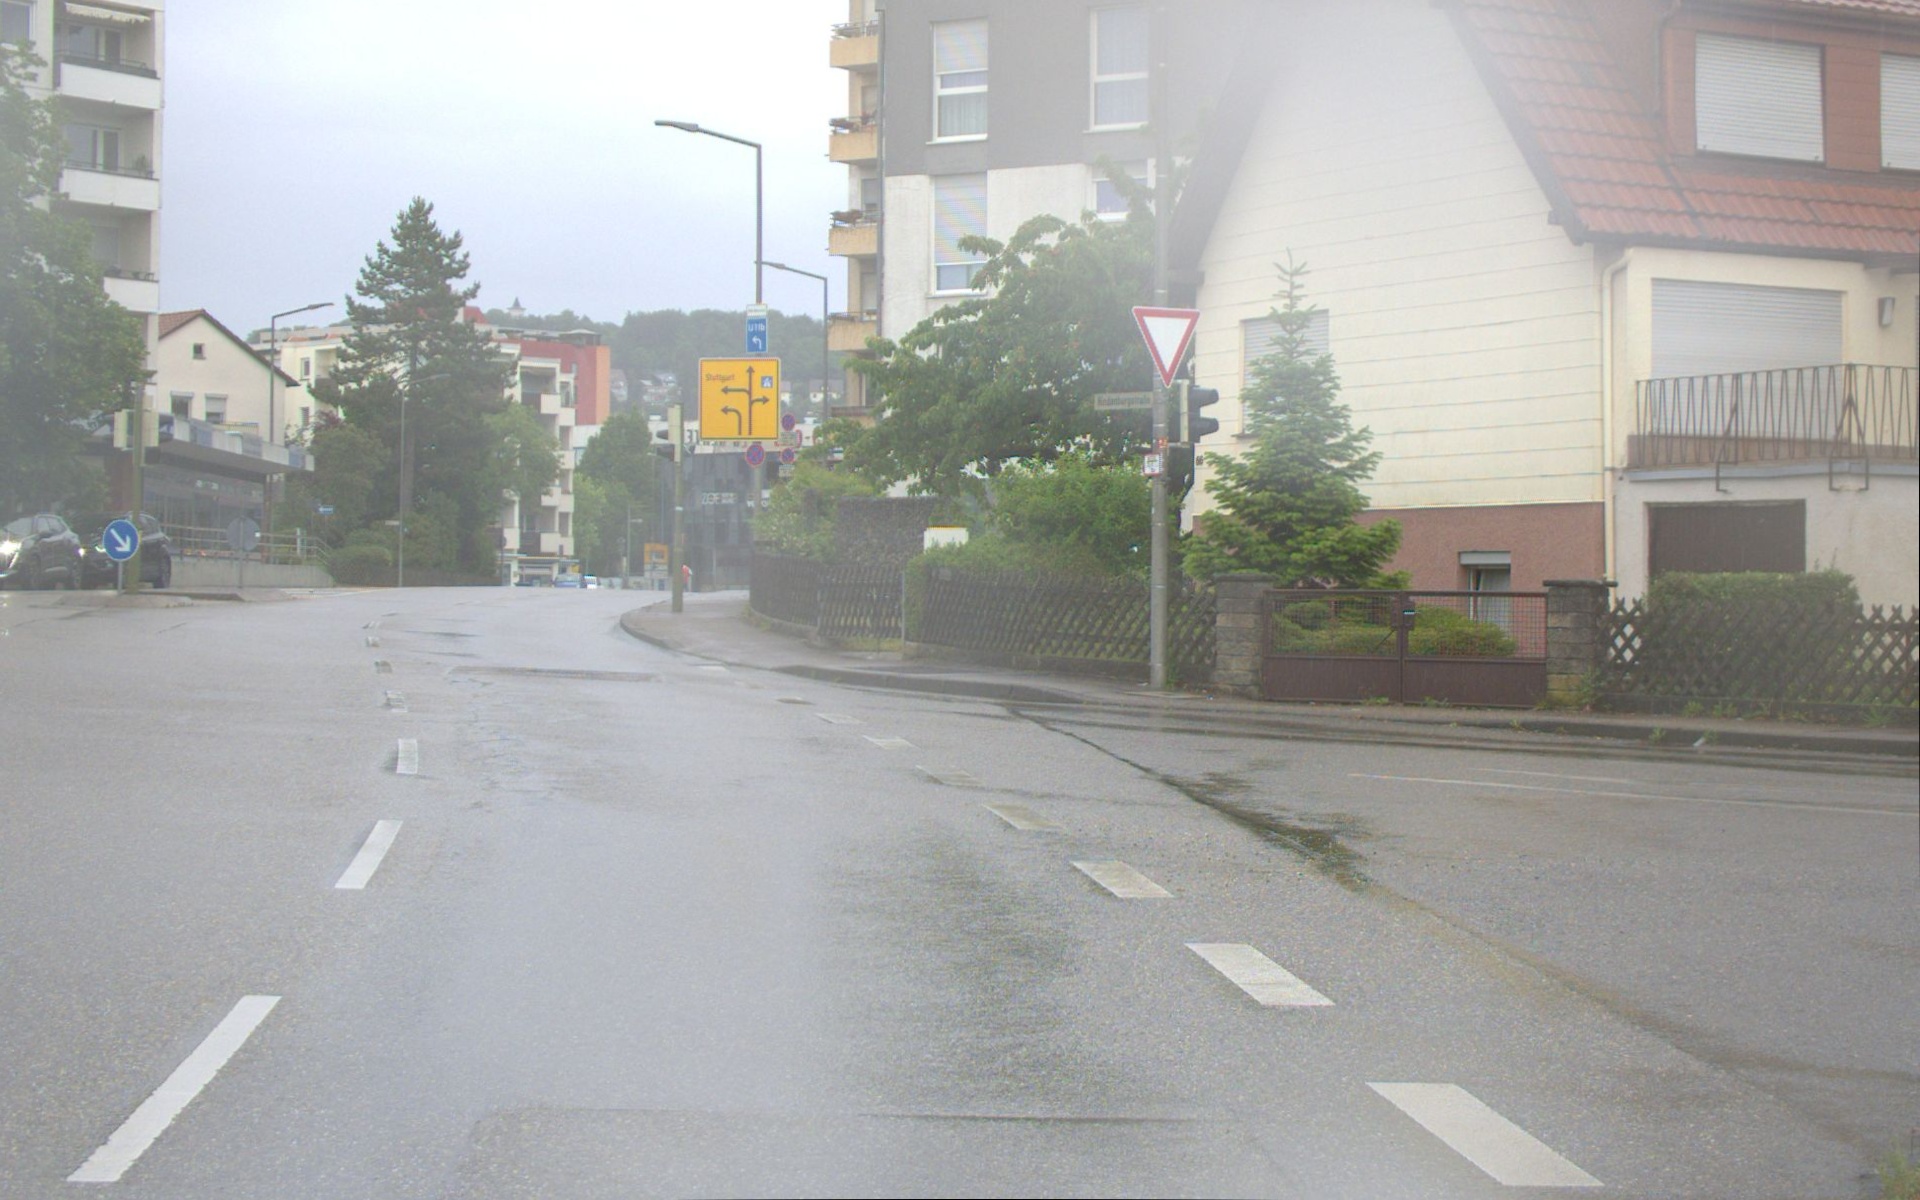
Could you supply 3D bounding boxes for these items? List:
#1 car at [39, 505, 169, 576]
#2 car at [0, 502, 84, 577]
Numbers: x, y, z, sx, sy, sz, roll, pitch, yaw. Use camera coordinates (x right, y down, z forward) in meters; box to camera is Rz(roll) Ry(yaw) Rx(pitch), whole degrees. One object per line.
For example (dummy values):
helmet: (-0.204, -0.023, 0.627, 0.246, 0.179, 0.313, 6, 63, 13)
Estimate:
car: (-17.740, -1.246, 71.412, 1.778, 1.415, 3.831, 1, 1, -1)
car: (-18.084, -1.175, 65.615, 1.715, 1.382, 4.021, 1, 1, -1)
